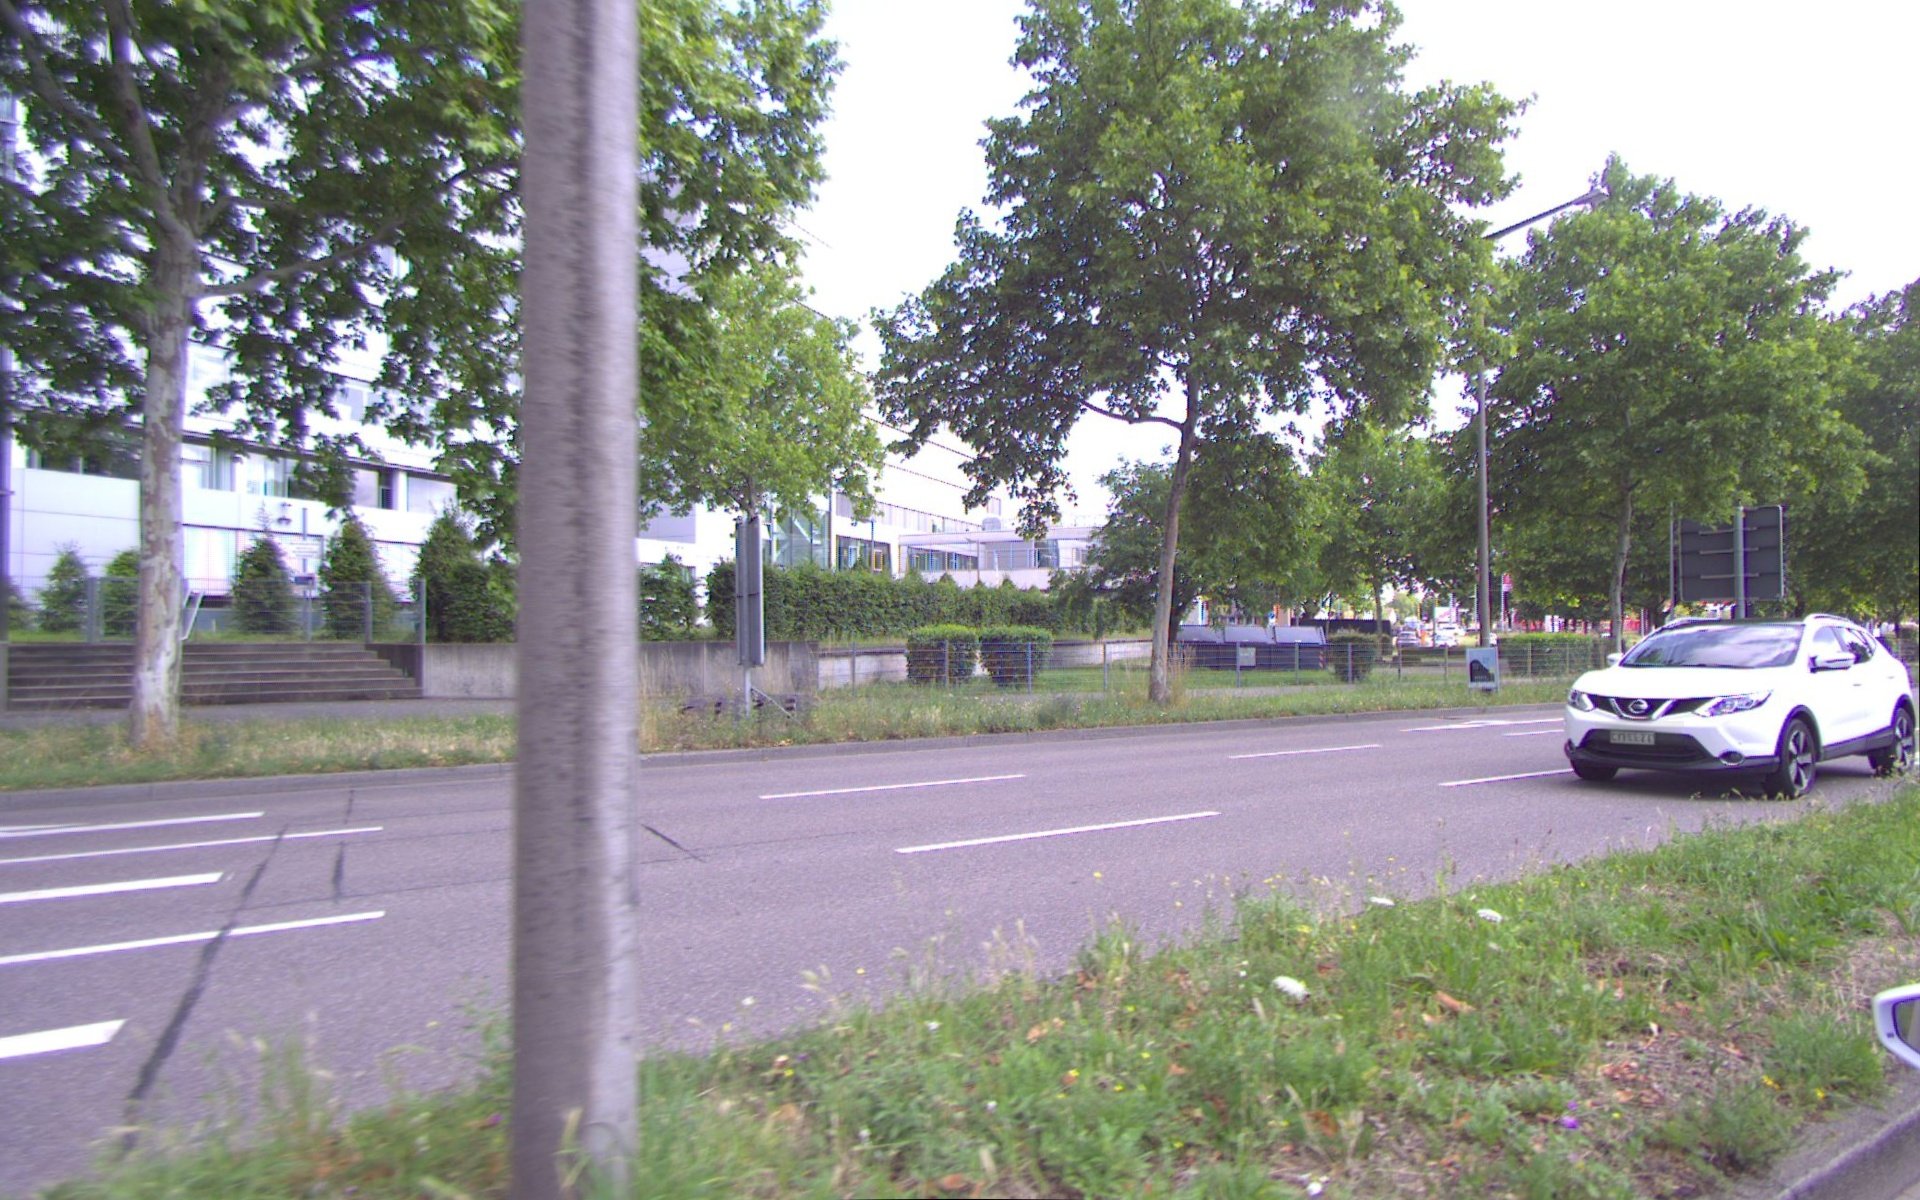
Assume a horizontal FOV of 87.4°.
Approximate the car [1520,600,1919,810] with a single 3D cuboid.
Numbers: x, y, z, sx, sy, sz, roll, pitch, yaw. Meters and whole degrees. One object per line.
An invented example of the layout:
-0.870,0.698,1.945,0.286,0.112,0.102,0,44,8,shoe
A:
7.613,0.925,9.903,4.304,1.661,1.804,1,-3,-33,car
